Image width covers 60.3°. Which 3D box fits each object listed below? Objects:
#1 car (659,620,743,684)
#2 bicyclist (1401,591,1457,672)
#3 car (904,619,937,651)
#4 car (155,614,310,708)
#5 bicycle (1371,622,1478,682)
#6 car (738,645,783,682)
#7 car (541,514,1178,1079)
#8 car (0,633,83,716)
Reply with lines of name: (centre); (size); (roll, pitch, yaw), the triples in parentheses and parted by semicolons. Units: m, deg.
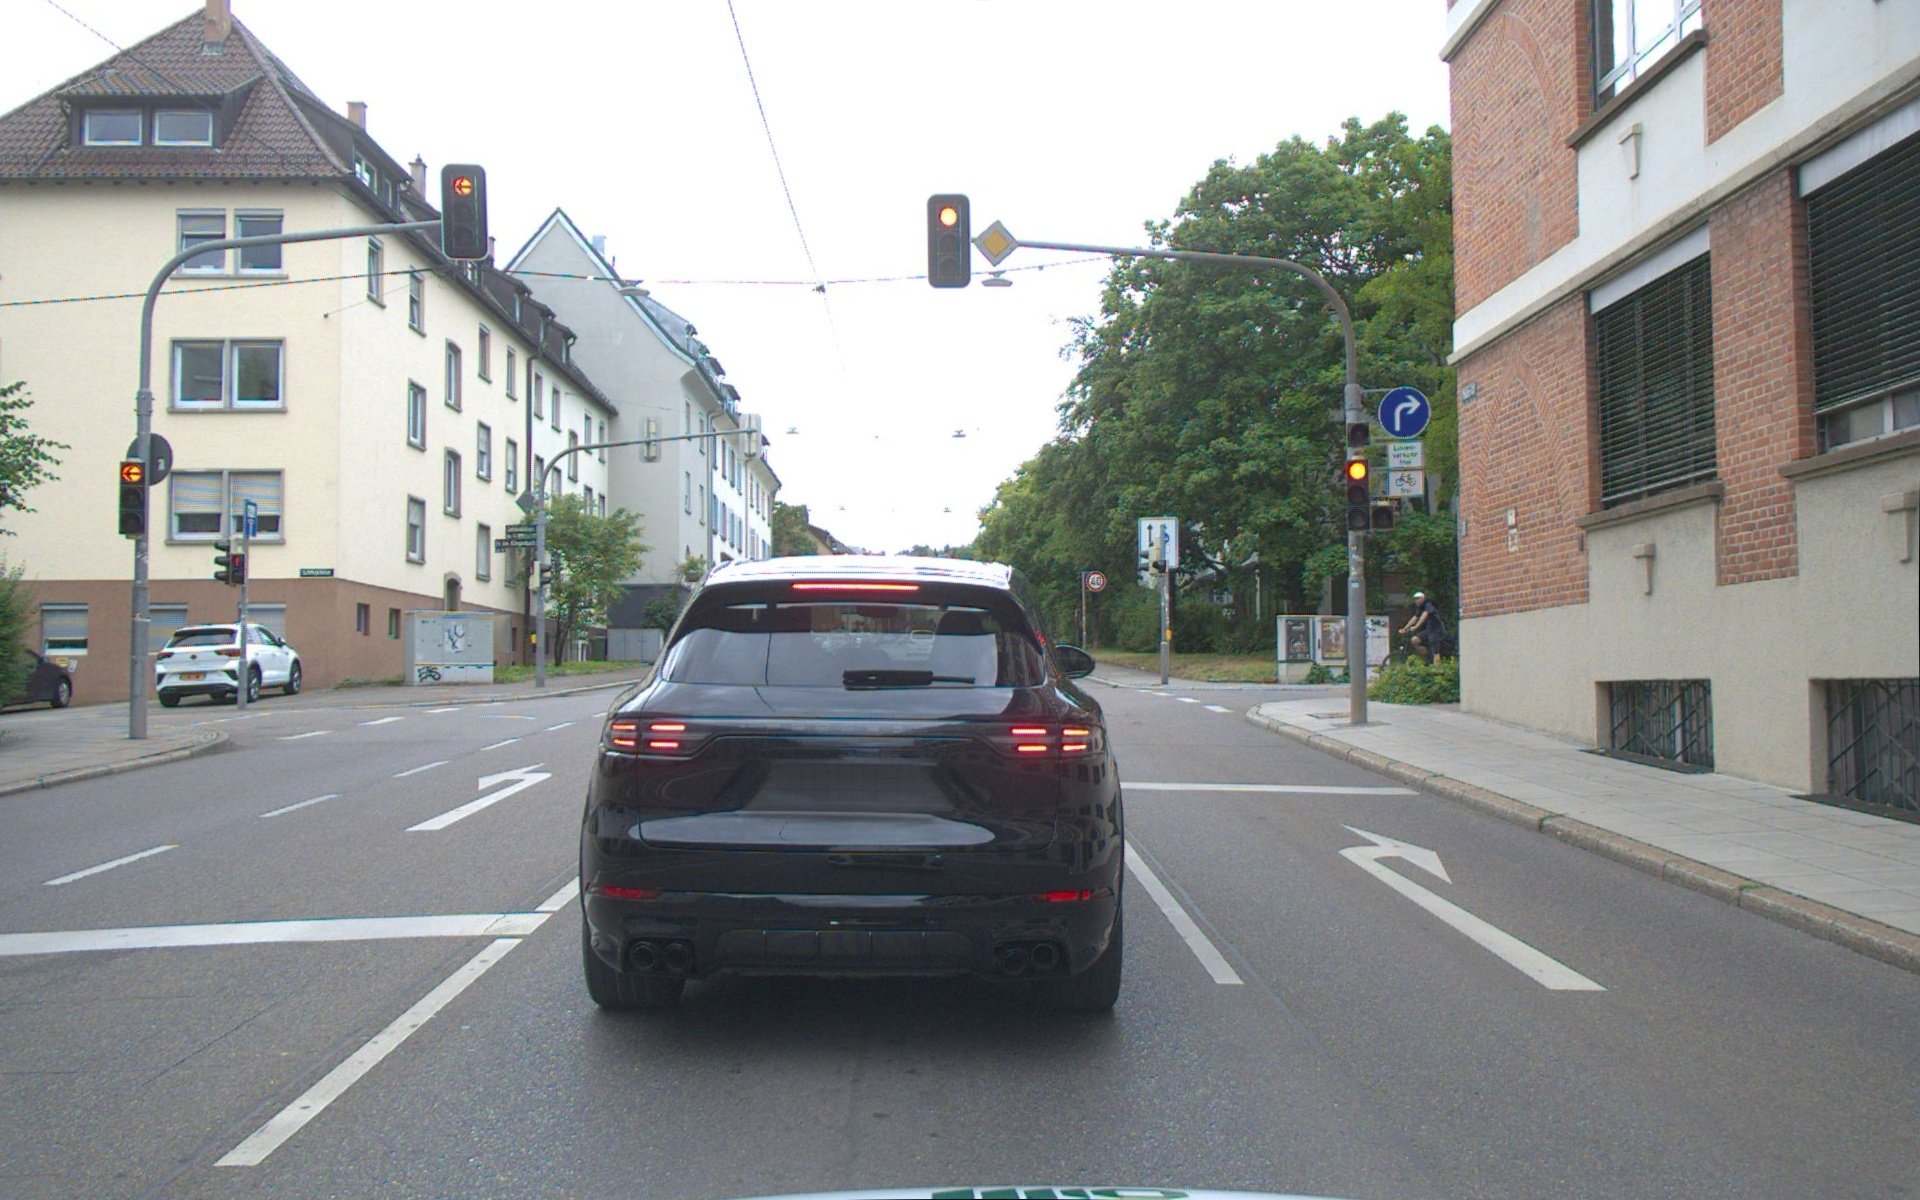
car: (-7.050, 1.391, 45.349); (1.630, 1.545, 3.739); (-4, 0, 0)
bicyclist: (9.041, 0.603, 31.903); (0.795, 1.546, 0.704); (1, -1, -12)
car: (-2.048, 1.785, 85.183); (1.654, 1.579, 3.887); (1, 0, -2)
car: (-14.735, 1.177, 33.707); (1.638, 1.691, 3.995); (-3, 0, -5)
bicycle: (8.948, 0.998, 31.873); (1.872, 1.100, 0.701); (1, 0, -12)
car: (-8.370, 2.644, 69.552); (1.637, 1.386, 3.997); (0, 0, -4)
car: (-0.335, 0.620, 7.143); (1.953, 1.726, 3.999); (1, 0, -1)
car: (-19.681, 1.544, 33.488); (1.636, 1.573, 4.100); (-3, 0, -1)
